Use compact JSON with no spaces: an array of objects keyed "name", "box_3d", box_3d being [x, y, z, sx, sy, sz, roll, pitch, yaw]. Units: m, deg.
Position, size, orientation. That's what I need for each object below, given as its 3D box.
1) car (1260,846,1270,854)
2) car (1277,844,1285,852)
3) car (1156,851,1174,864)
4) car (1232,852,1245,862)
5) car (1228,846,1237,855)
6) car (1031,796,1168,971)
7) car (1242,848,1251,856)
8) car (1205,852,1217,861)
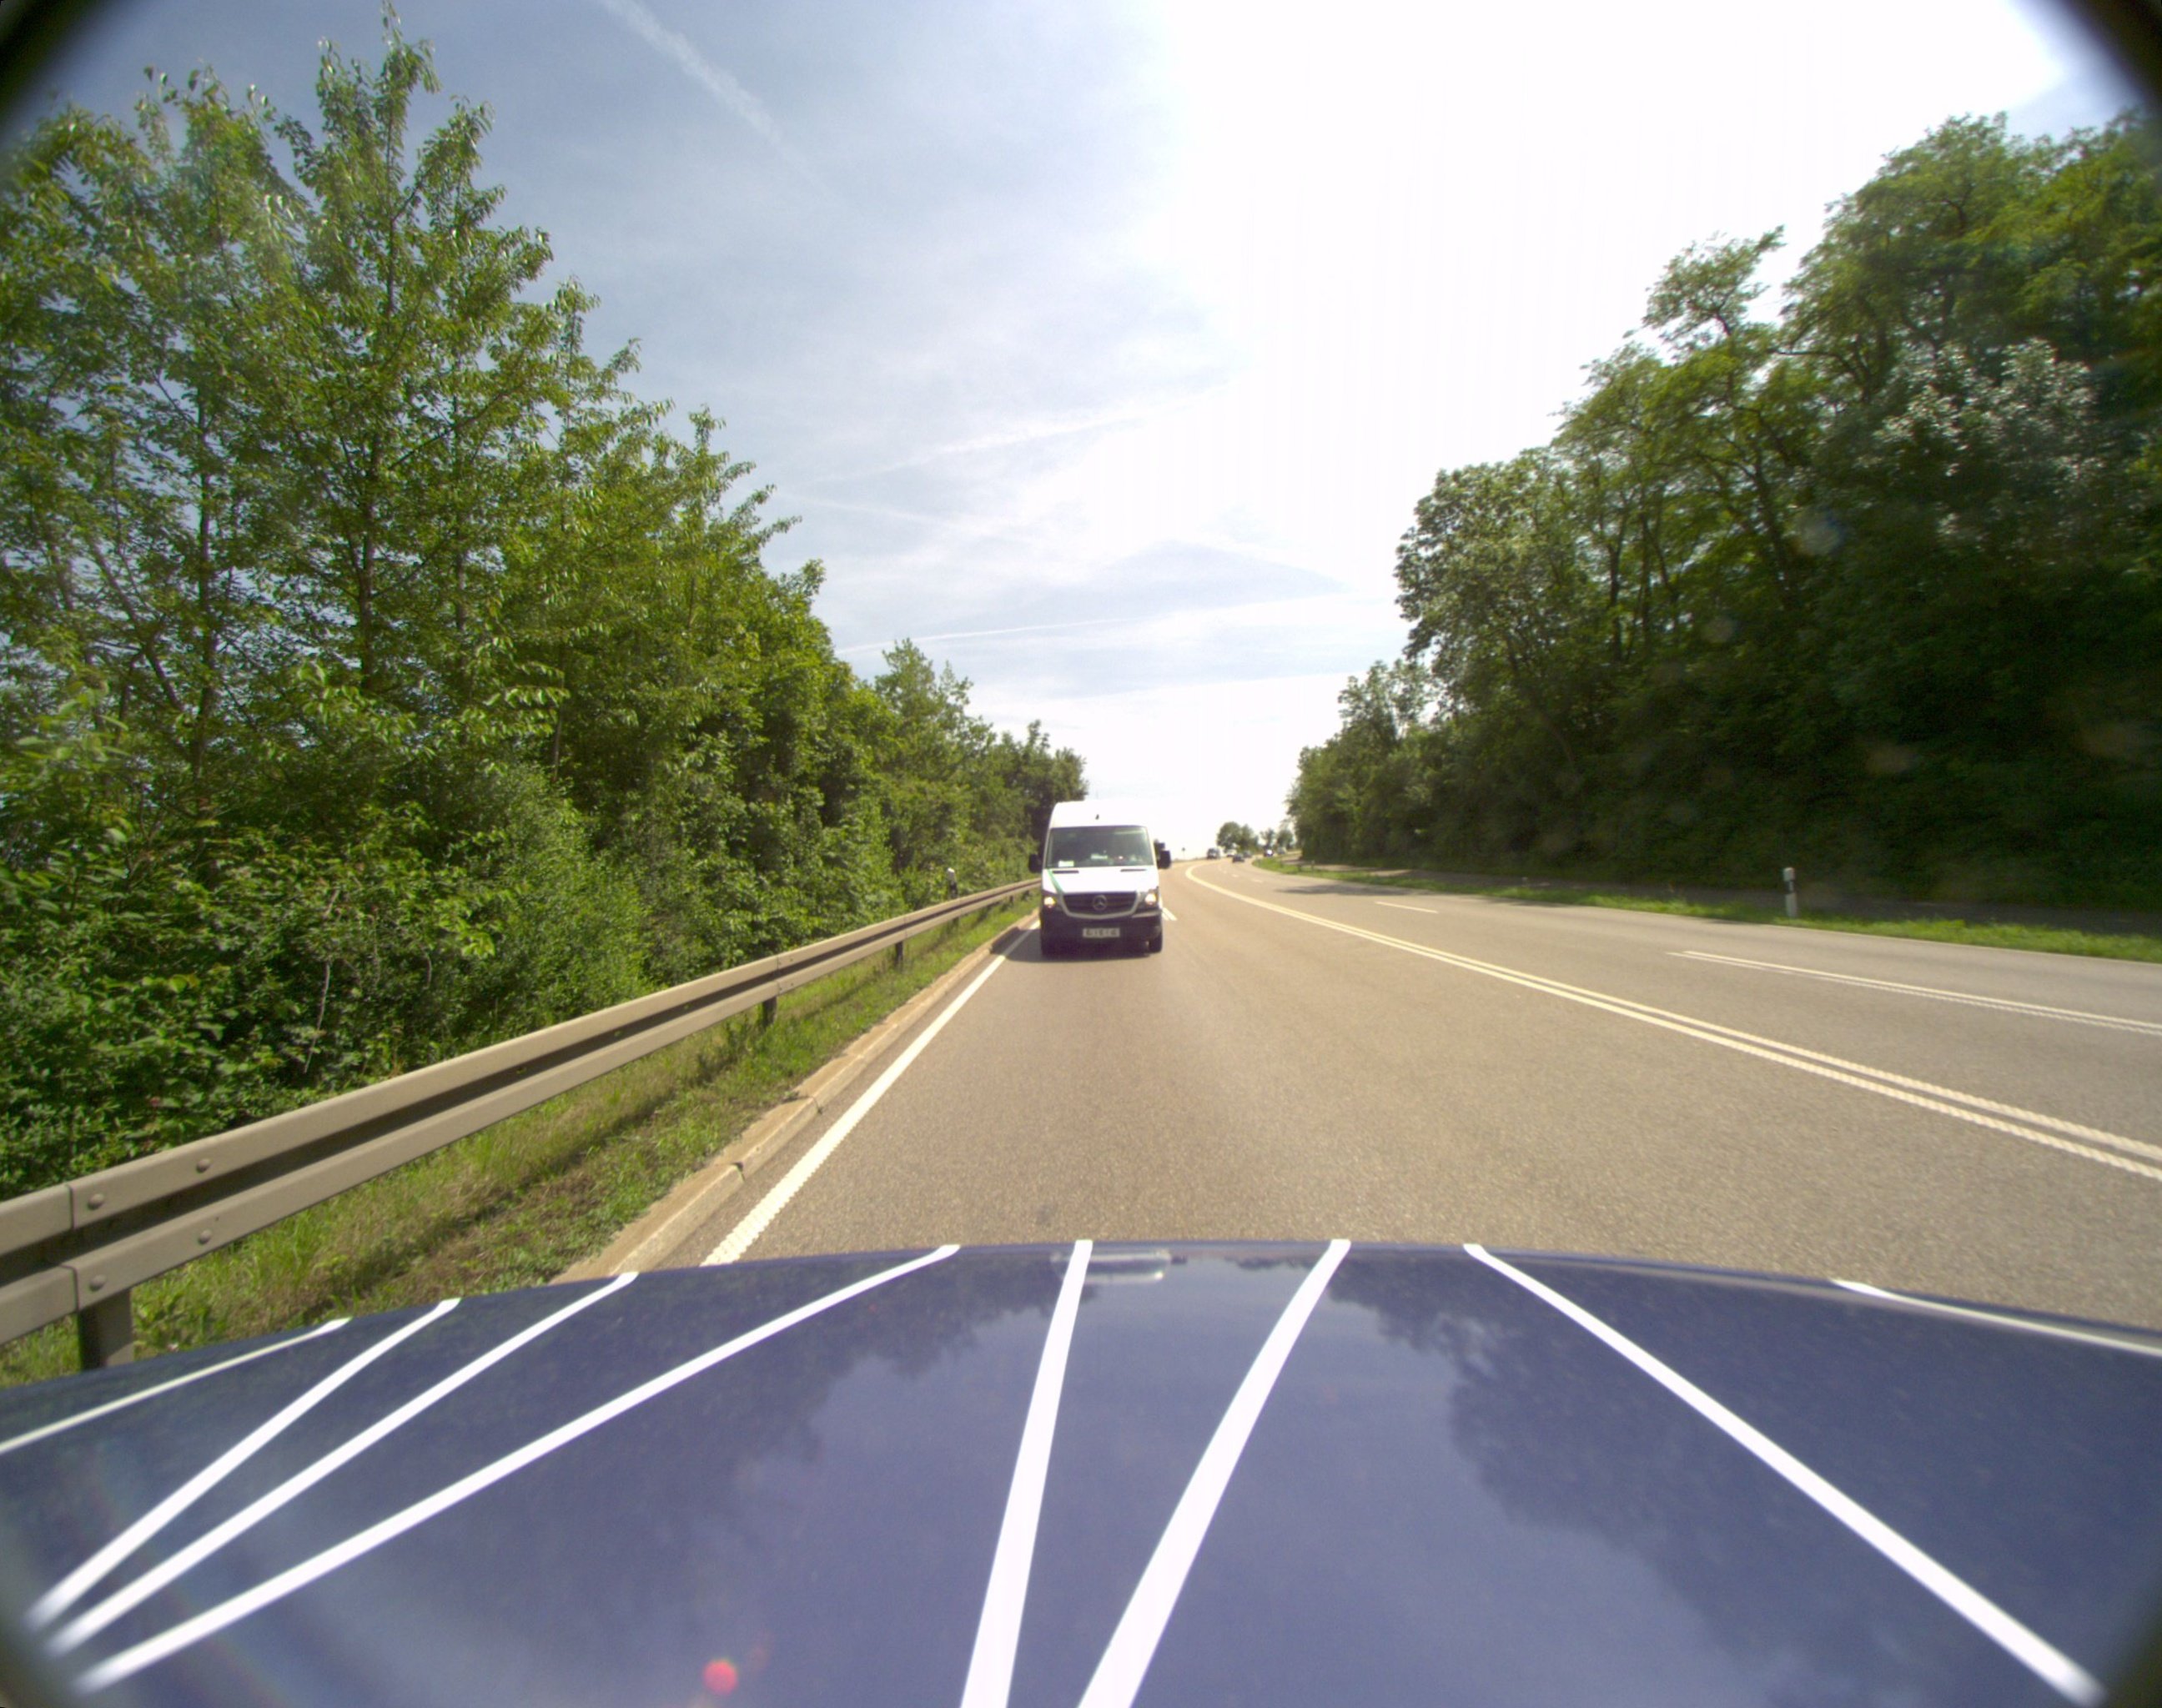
[{"name":"car","box_3d":[42.095,-0.891,173.728,1.996,1.665,4.003,-2,1,14]},{"name":"car","box_3d":[52.302,-1.525,198.732,1.815,2.002,3.874,-2,1,15]},{"name":"car","box_3d":[11.686,0.486,105.872,1.997,1.718,4.003,-2,1,12]},{"name":"car","box_3d":[24.151,0.434,116.460,1.805,1.379,3.874,-2,0,12]},{"name":"car","box_3d":[37.116,-0.847,186.235,1.849,2.002,3.876,-2,1,17]},{"name":"car","box_3d":[0.339,0.436,13.536,1.958,2.502,5.267,0,0,2]},{"name":"car","box_3d":[36.555,-0.506,167.708,1.958,1.717,3.915,-2,0,14]},{"name":"car","box_3d":[27.873,0.515,163.274,1.996,2.002,4.005,-2,0,16]}]
